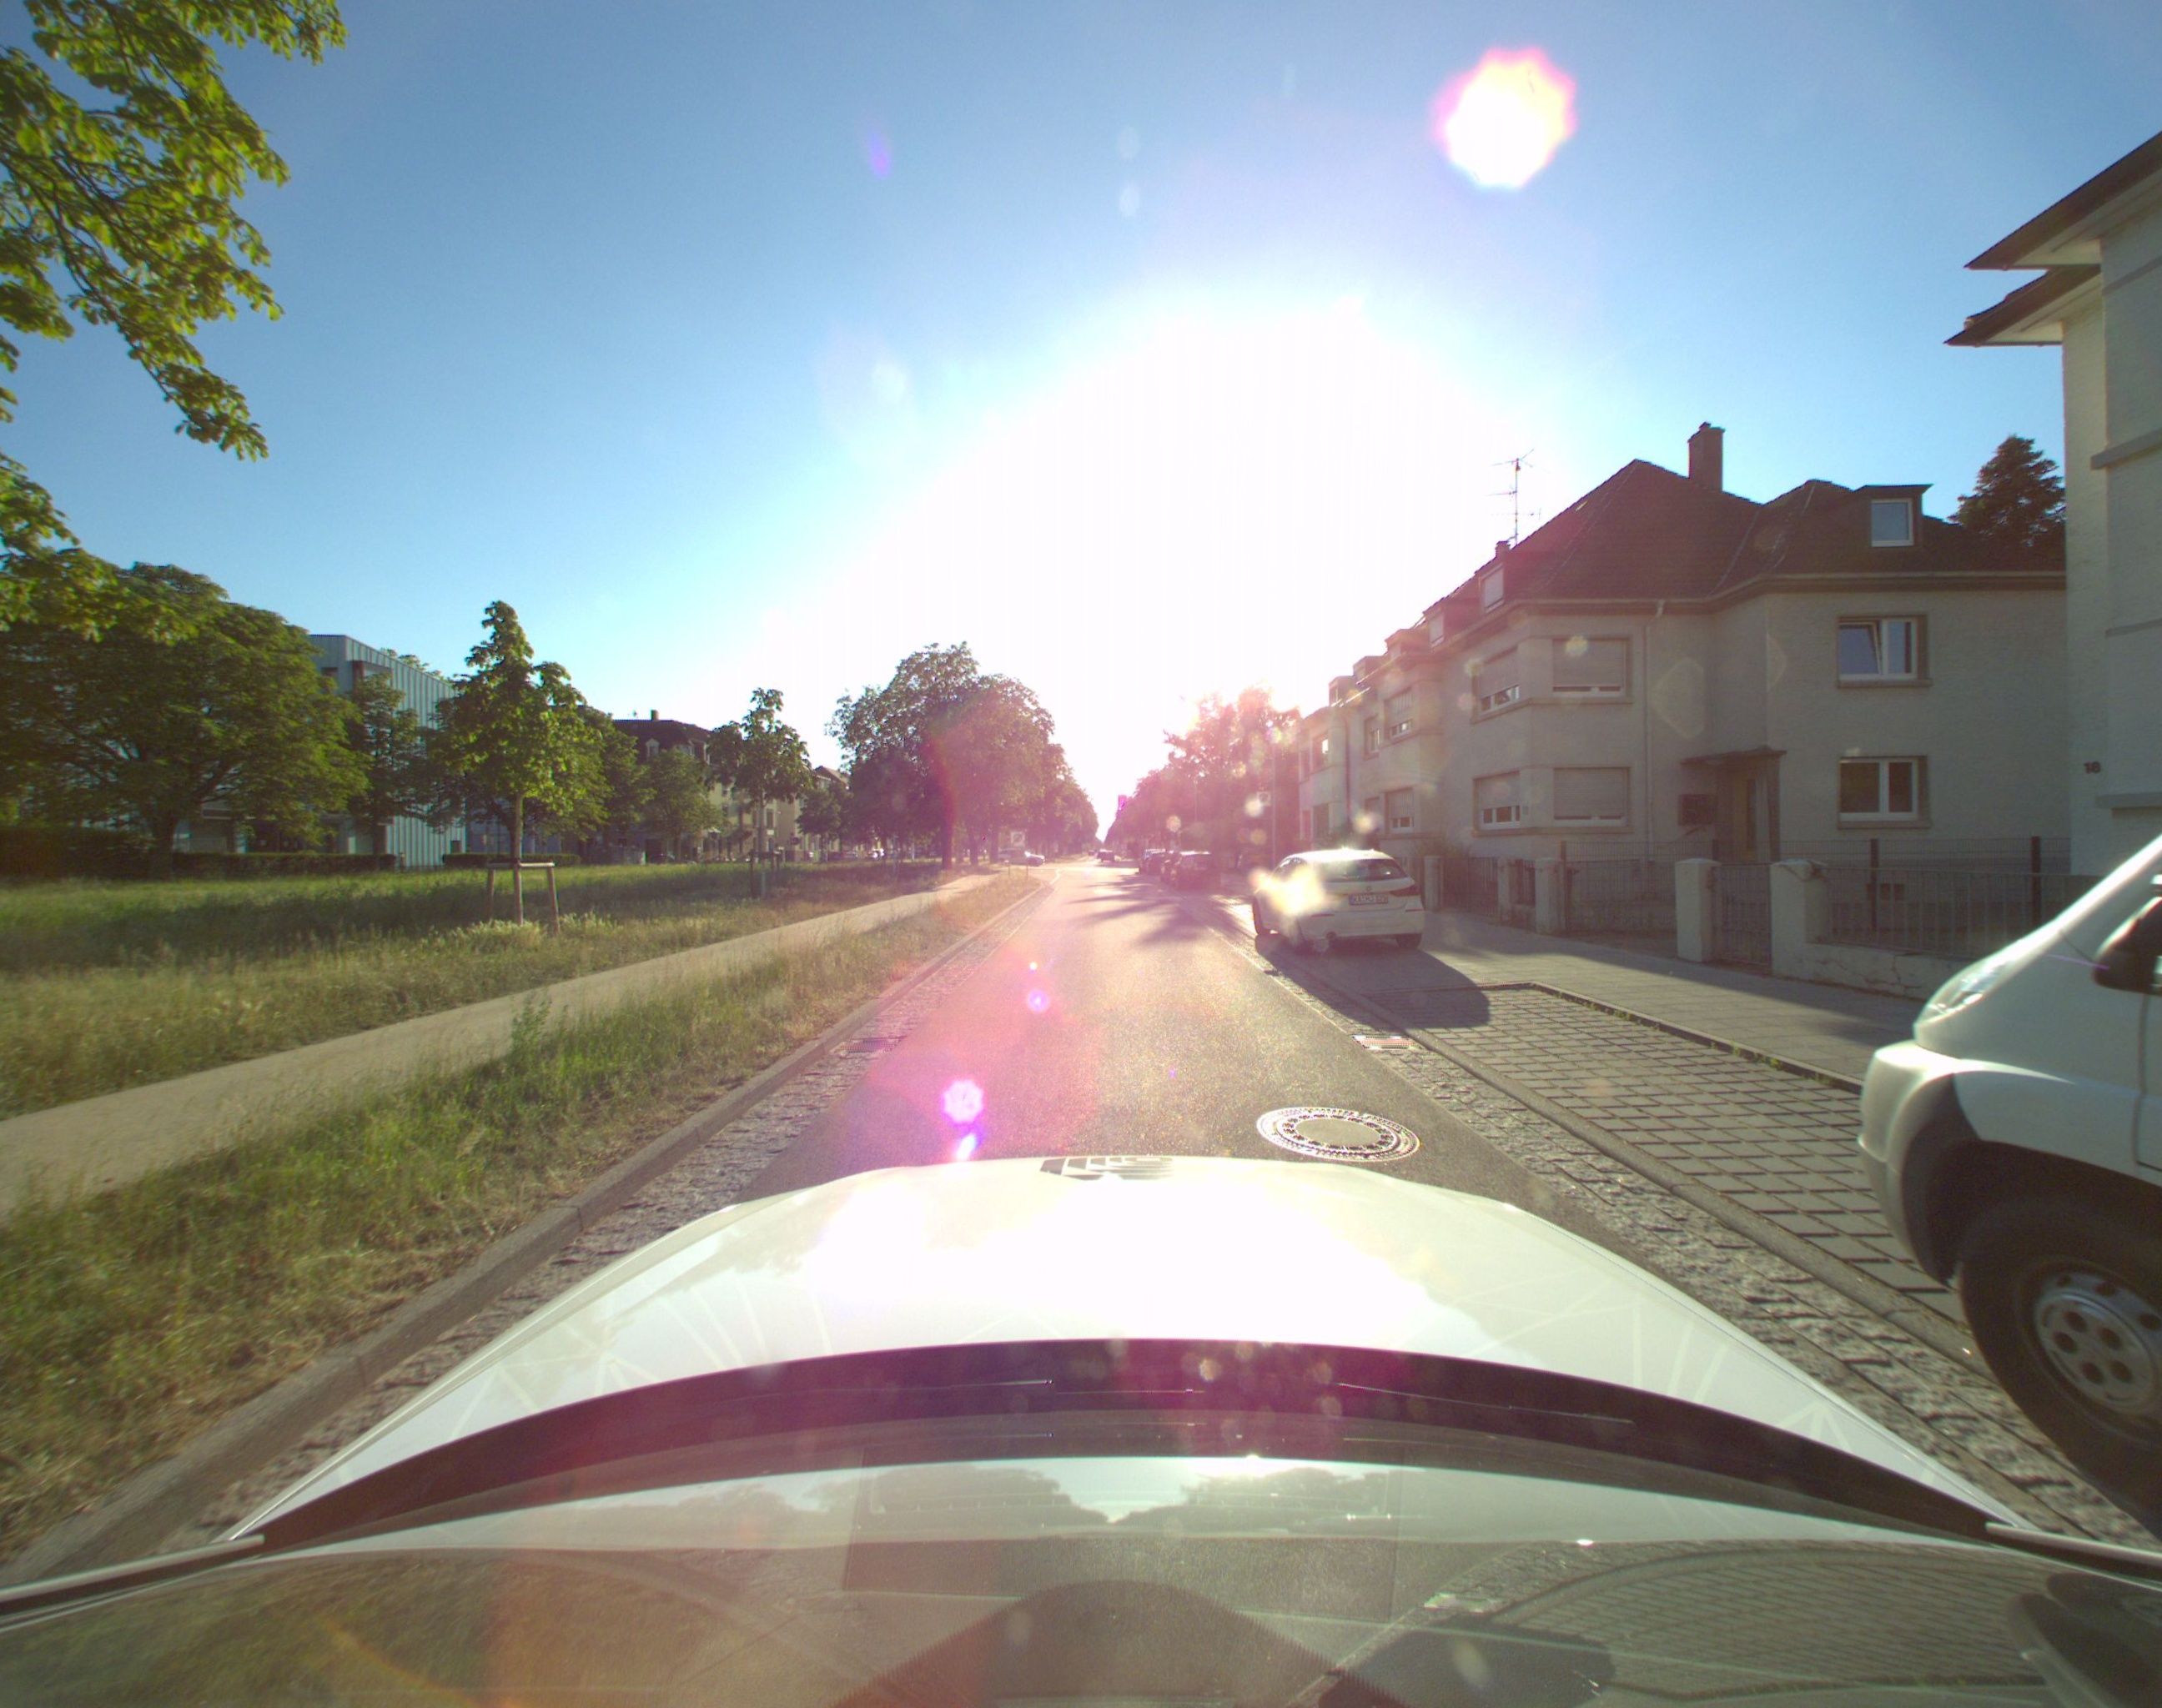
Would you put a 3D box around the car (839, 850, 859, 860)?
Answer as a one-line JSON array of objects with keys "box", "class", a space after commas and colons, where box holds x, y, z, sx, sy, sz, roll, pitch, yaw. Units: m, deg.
[{"box": [-38.789, 0.168, 136.162, 1.728, 1.427, 3.801, 0, 1, 7], "class": "car"}]

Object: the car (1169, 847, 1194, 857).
[{"box": [15.672, -0.276, 126.868, 3.766, 1.525, 1.744, 0, 1, 1], "class": "car"}]

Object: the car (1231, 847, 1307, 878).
[{"box": [9.983, 0.456, 43.386, 3.621, 1.496, 1.781, -2, 0, 1], "class": "car"}]

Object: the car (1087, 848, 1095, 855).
[{"box": [2.934, -0.684, 229.389, 2.126, 2.013, 3.904, 1, 0, 2], "class": "car"}]

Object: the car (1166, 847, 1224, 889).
[{"box": [4.446, 0.523, 32.208, 1.712, 1.471, 3.984, -2, 0, 1], "class": "car"}]

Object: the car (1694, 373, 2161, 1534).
[{"box": [3.410, 0.229, 0.364, 2.122, 2.518, 5.507, 1, 0, 0], "class": "car"}]

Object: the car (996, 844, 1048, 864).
[{"box": [-5.317, -0.017, 73.665, 4.389, 1.676, 1.900, 2, 0, 5], "class": "car"}]

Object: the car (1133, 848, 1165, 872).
[{"box": [4.517, 0.369, 54.688, 1.852, 1.542, 4.875, 0, 0, 2], "class": "car"}]

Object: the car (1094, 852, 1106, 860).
[{"box": [3.291, 0.285, 139.938, 1.838, 1.394, 3.831, 1, 0, 2], "class": "car"}]

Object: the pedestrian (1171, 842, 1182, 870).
[{"box": [6.401, 0.142, 54.689, 0.668, 1.865, 0.882, 0, 0, 1], "class": "pedestrian"}]

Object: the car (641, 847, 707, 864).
[{"box": [-35.259, 0.129, 70.709, 4.760, 1.434, 1.810, 1, -1, -7], "class": "car"}]

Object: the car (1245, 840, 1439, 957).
[{"box": [3.941, 0.582, 13.073, 1.776, 1.507, 4.234, -2, 0, 1], "class": "car"}]

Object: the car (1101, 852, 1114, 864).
[{"box": [3.455, 0.487, 105.820, 1.634, 1.451, 3.311, 0, 0, 4], "class": "car"}]

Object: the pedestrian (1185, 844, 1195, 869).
[{"box": [7.313, 0.178, 54.625, 0.666, 1.708, 0.623, 0, 0, 1], "class": "pedestrian"}]

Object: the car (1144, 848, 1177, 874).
[{"box": [4.723, 0.397, 48.668, 1.635, 1.427, 3.937, -2, 0, 1], "class": "car"}]

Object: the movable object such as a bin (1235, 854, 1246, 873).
[{"box": [8.923, 0.518, 45.567, 0.506, 1.043, 0.416, 0, 0, -5], "class": "movable object such as a bin"}]

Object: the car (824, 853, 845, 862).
[{"box": [-39.343, 0.570, 129.865, 1.728, 1.397, 3.801, 0, 1, 7], "class": "car"}]

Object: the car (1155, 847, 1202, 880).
[{"box": [4.443, 0.403, 37.759, 1.740, 1.474, 4.256, 0, 0, 1], "class": "car"}]

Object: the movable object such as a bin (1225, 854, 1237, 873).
[{"box": [8.372, 0.531, 45.525, 0.506, 1.043, 0.658, 0, 0, -4], "class": "movable object such as a bin"}]
